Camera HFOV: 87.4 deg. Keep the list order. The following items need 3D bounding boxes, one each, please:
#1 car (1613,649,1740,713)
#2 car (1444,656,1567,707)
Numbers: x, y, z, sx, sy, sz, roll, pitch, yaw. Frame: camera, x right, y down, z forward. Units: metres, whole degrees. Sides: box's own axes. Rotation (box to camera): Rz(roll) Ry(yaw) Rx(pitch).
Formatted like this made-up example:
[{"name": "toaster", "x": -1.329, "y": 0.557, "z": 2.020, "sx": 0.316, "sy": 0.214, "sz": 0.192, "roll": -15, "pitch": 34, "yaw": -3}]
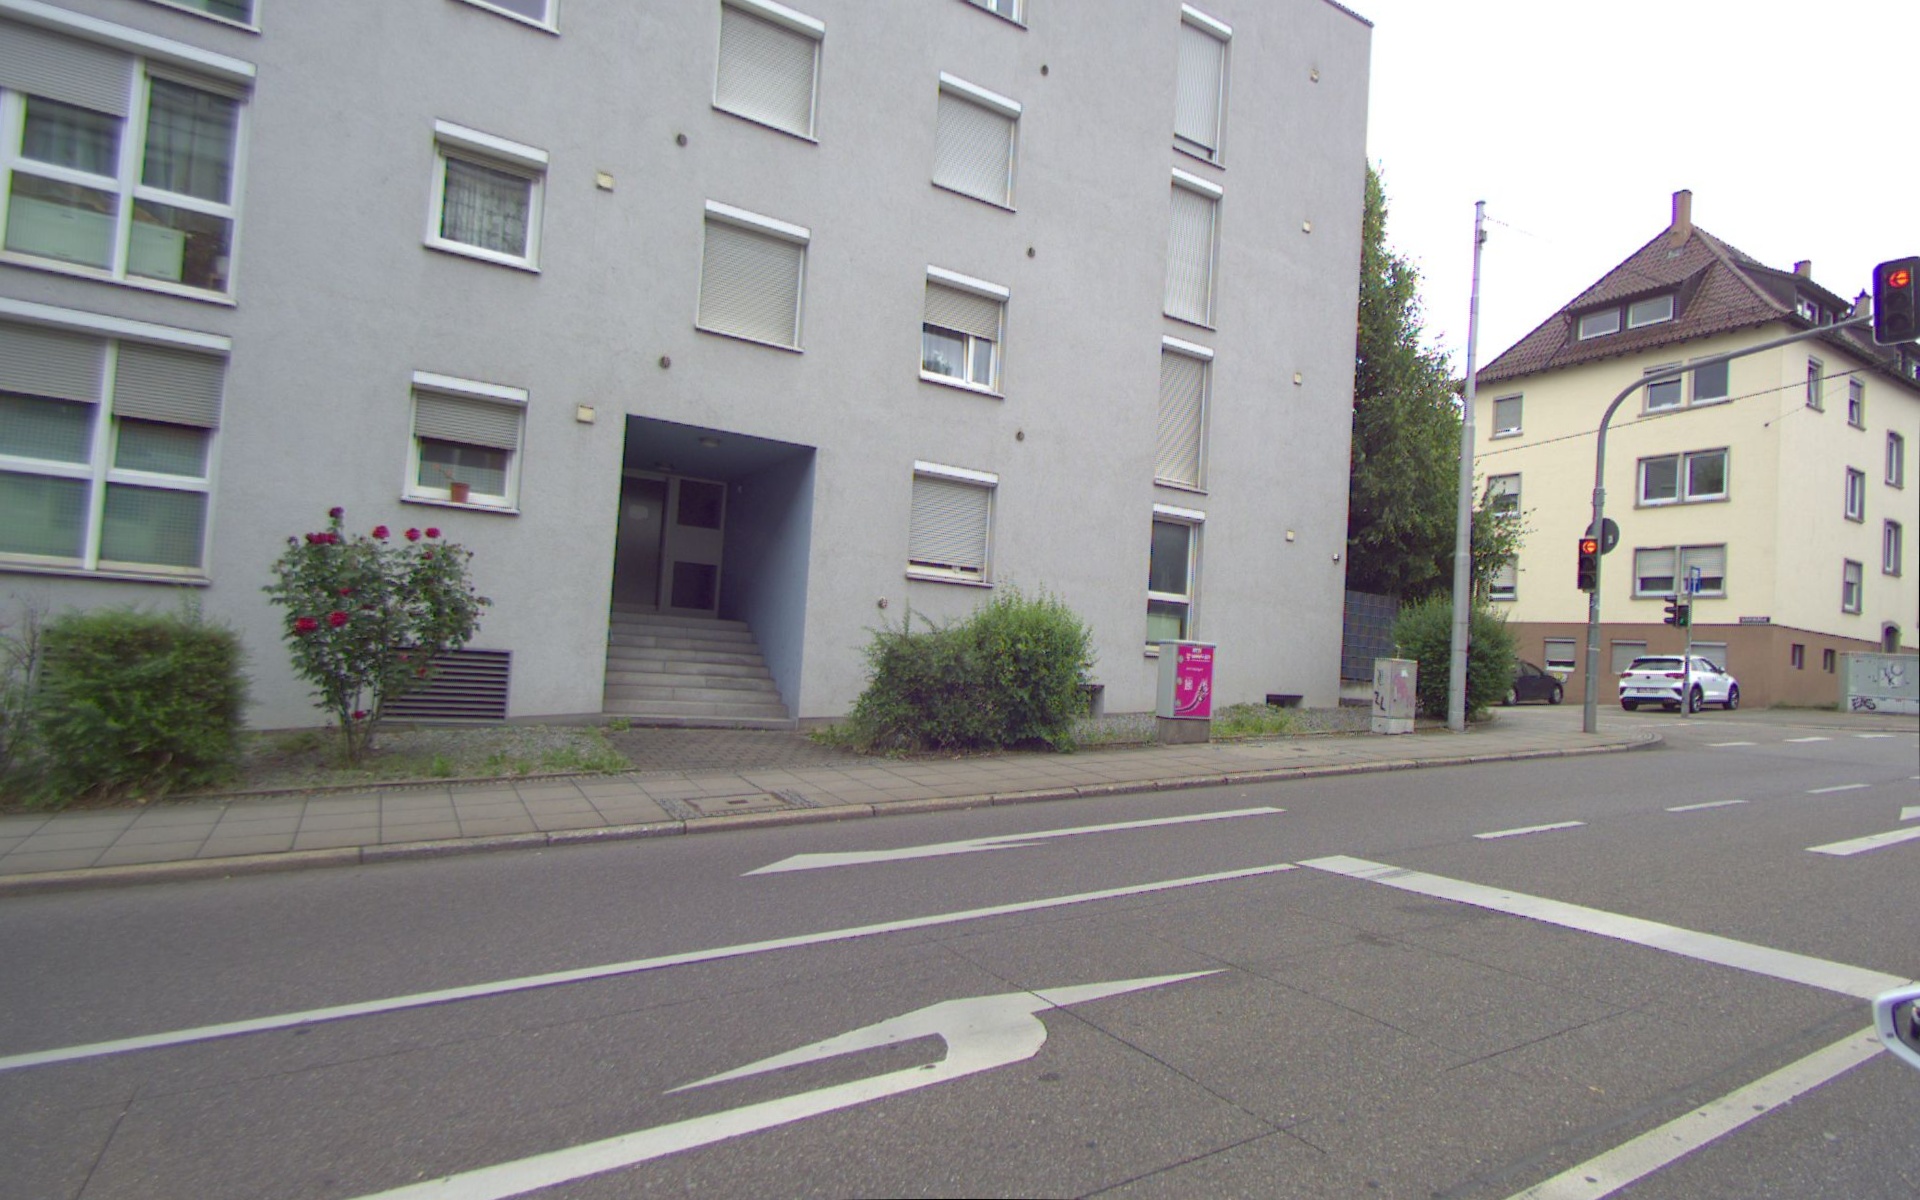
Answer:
[{"name": "car", "x": 20.298, "y": 2.258, "z": 28.428, "sx": 3.960, "sy": 1.683, "sz": 1.660, "roll": 2, "pitch": -4, "yaw": -35}, {"name": "car", "x": 17.773, "y": 2.625, "z": 32.698, "sx": 4.054, "sy": 1.566, "sz": 1.662, "roll": 2, "pitch": -4, "yaw": -30}]
